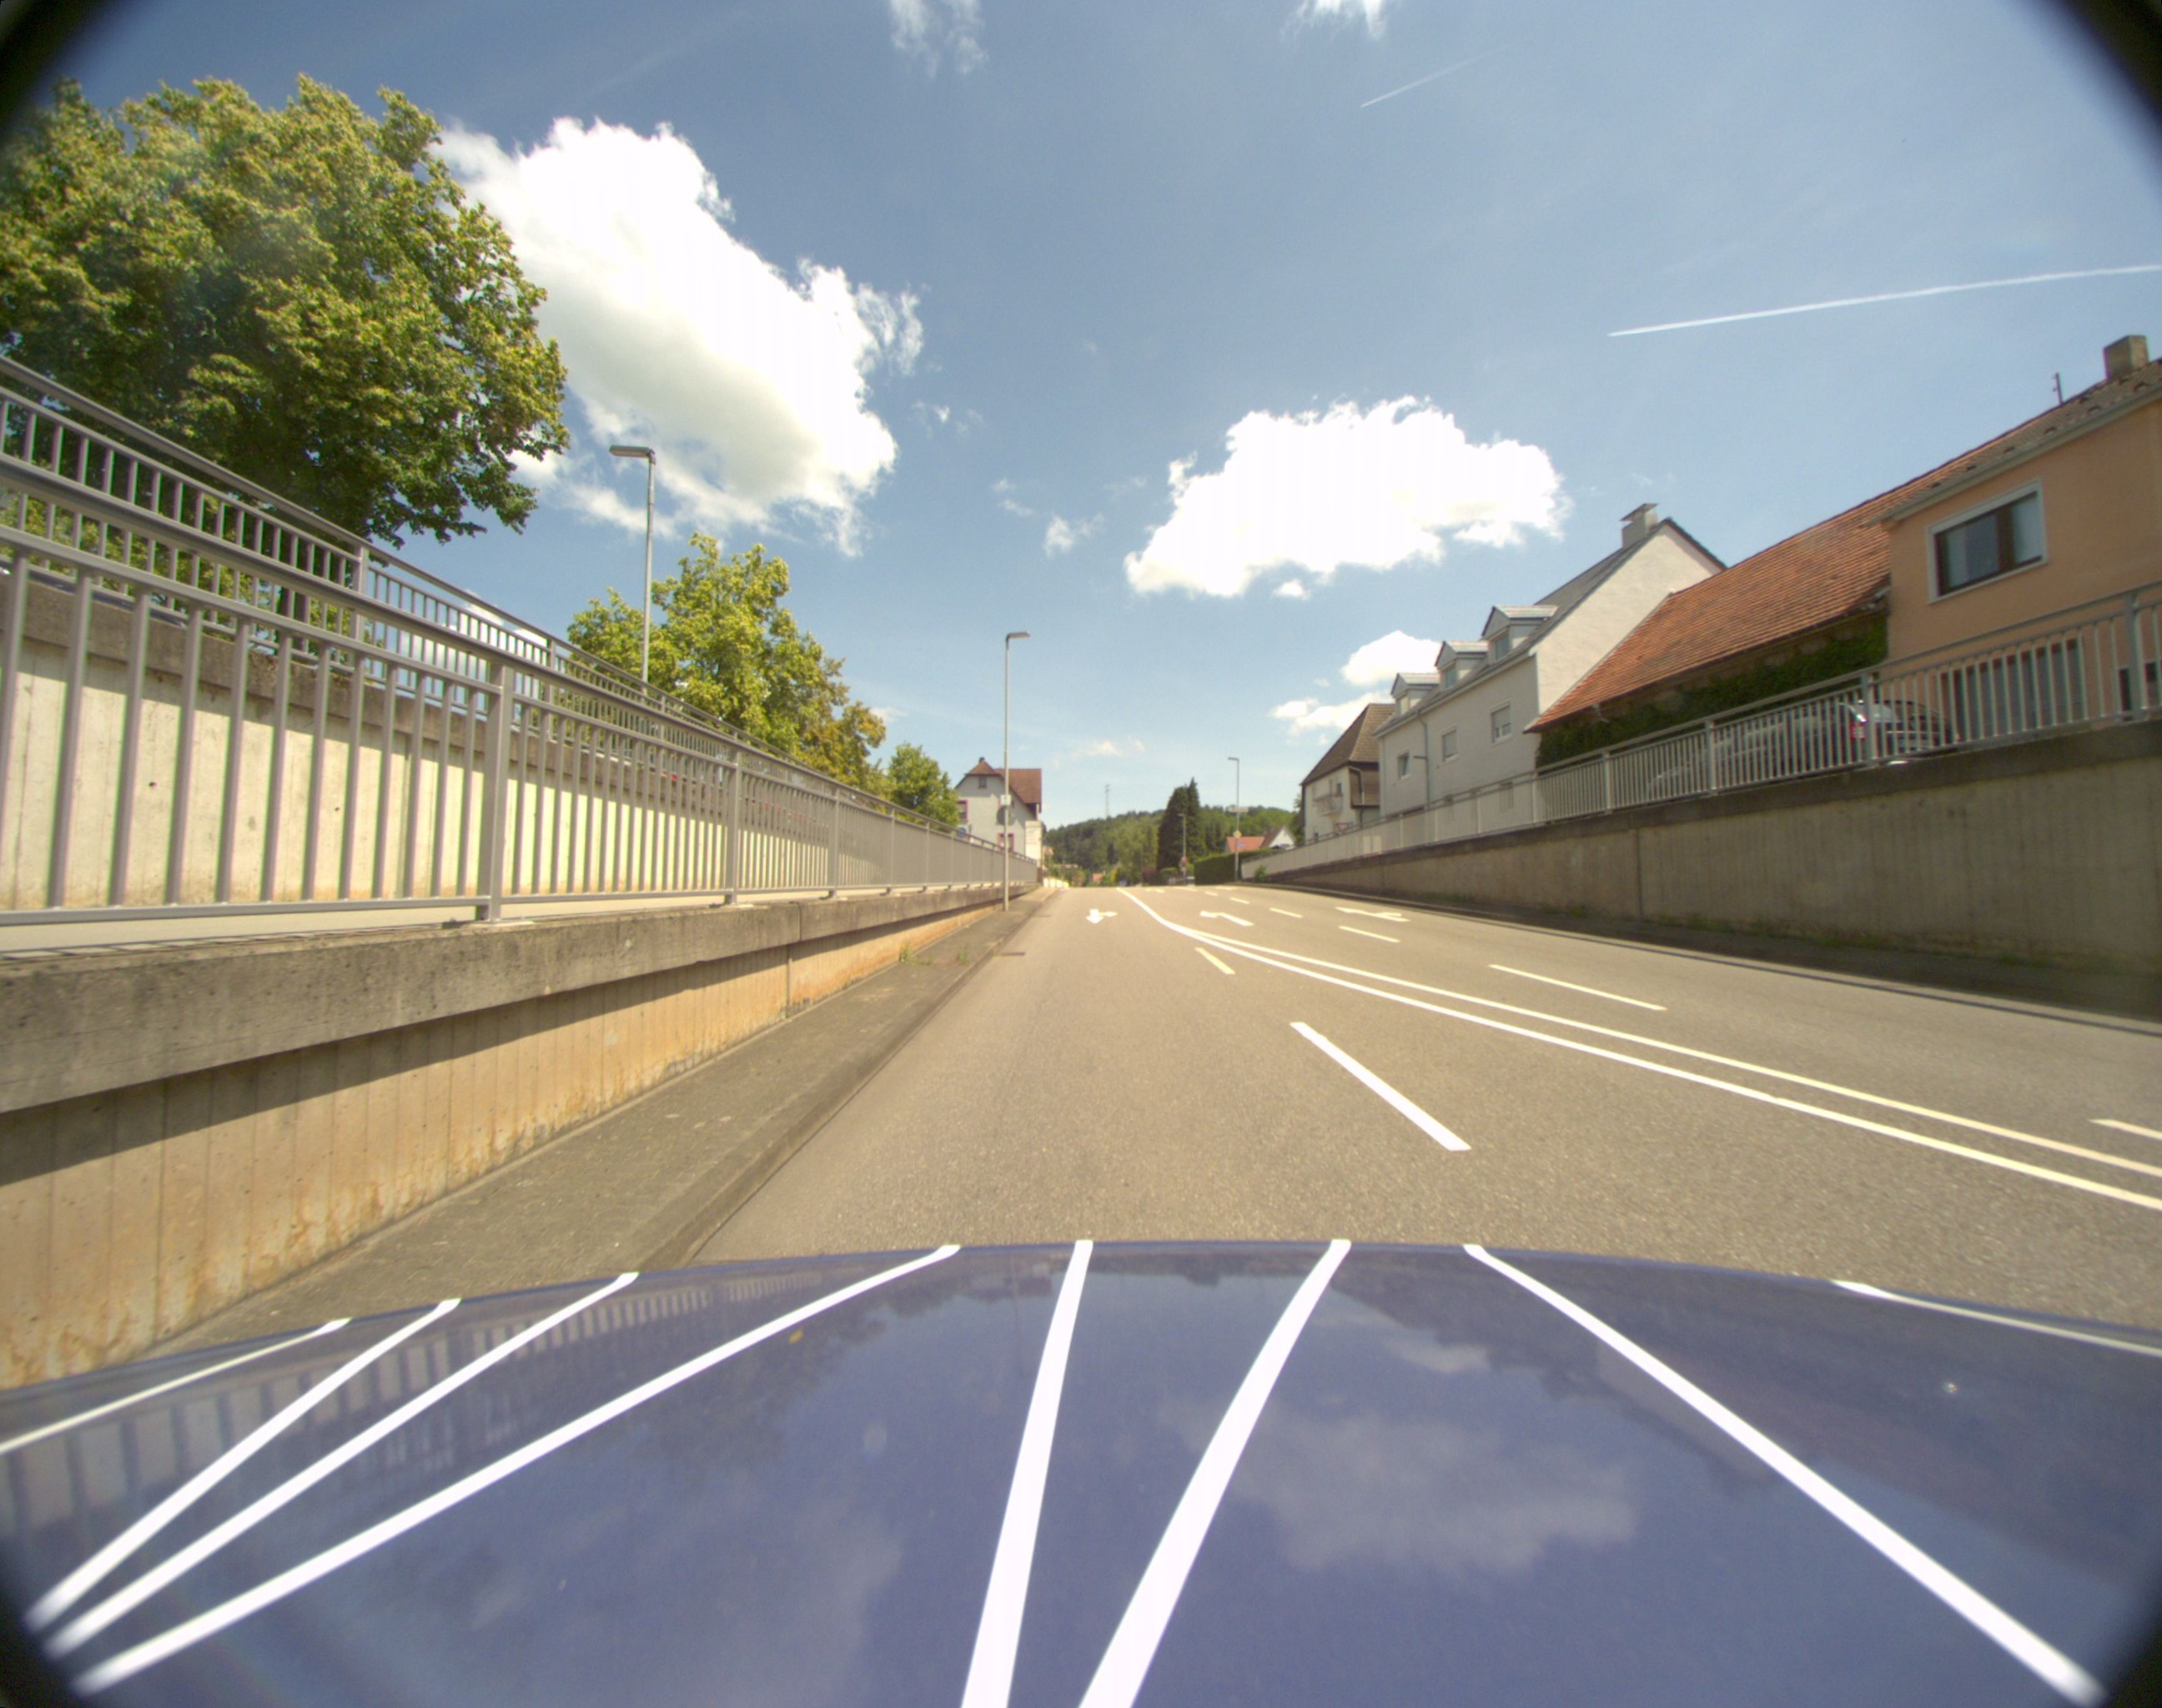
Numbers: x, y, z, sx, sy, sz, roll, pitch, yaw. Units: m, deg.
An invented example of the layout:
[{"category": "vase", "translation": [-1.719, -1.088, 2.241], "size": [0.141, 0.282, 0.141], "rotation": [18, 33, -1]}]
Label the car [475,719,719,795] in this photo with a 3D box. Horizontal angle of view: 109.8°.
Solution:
[{"category": "car", "translation": [-10.104, -2.014, 16.075], "size": [3.997, 1.299, 1.773], "rotation": [1, -1, 1]}]

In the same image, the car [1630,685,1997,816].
[{"category": "car", "translation": [11.712, -1.544, 12.693], "size": [1.790, 1.396, 4.394], "rotation": [-1, -2, -1]}]
